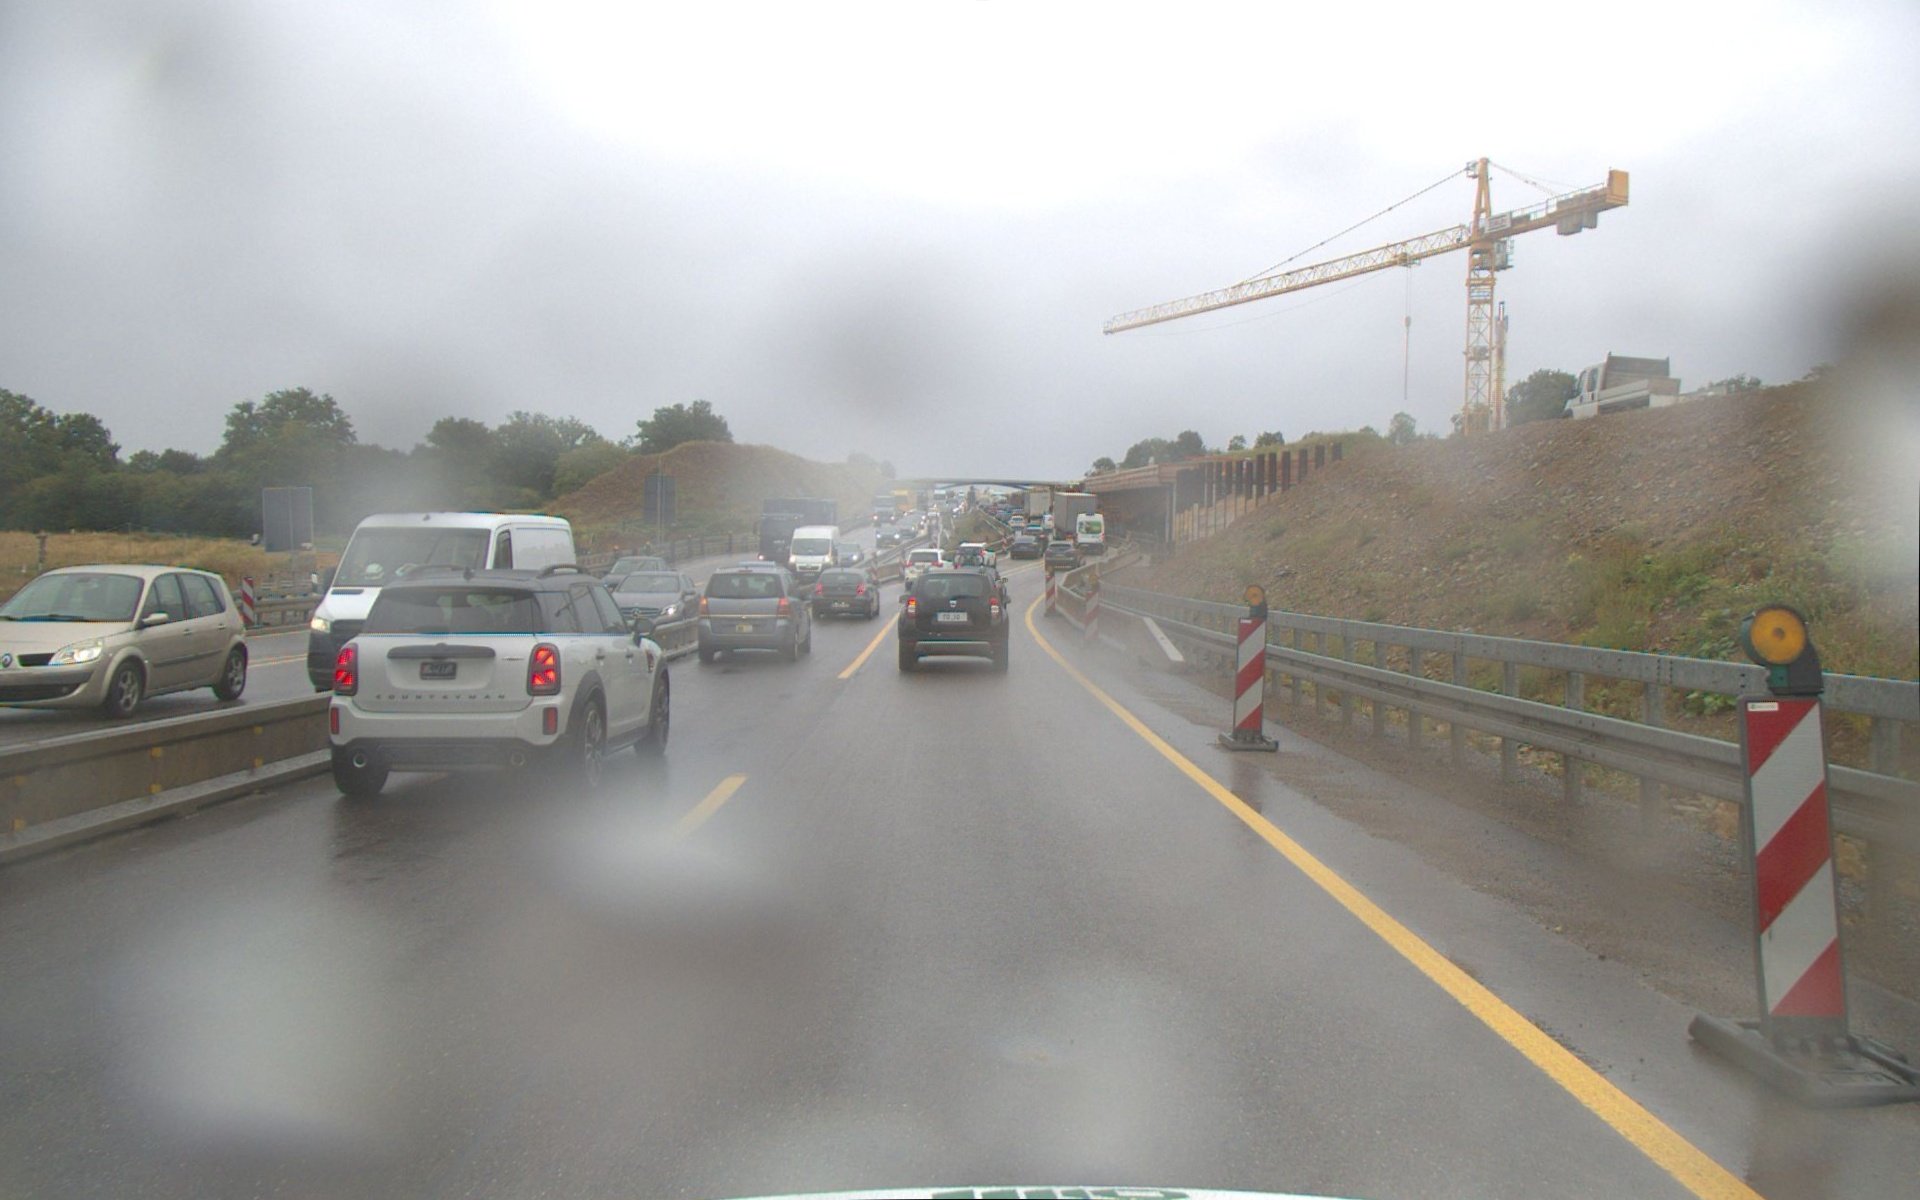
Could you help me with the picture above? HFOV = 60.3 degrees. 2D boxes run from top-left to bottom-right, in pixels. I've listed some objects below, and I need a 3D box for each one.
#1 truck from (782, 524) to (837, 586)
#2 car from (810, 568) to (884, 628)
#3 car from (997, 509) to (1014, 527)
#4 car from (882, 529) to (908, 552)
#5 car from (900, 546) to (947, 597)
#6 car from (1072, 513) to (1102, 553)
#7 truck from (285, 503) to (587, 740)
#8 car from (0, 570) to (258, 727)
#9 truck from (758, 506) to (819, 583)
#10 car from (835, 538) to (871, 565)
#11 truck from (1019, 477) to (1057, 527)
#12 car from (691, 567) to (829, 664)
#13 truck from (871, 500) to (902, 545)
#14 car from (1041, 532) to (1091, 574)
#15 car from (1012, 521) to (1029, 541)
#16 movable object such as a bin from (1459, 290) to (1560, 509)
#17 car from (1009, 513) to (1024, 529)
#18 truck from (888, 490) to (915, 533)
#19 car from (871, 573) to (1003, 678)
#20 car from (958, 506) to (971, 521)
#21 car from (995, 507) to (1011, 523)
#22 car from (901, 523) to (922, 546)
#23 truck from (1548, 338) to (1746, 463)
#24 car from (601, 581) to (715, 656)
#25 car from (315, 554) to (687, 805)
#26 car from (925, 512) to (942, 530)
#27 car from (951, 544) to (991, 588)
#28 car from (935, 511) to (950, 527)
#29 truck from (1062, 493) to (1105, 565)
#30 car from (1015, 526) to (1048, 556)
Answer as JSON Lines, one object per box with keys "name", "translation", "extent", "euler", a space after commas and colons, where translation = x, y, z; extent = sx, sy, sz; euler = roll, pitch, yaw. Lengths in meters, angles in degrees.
{"name": "truck", "translation": [-6.970, -2.082, 77.268], "extent": [2.104, 2.760, 6.016], "euler": [1, 1, -1]}
{"name": "car", "translation": [-3.205, -0.047, 47.550], "extent": [1.953, 1.628, 4.139], "euler": [0, 0, -2]}
{"name": "car", "translation": [5.367, -9.648, 195.314], "extent": [1.953, 2.048, 4.000], "euler": [0, 1, 0]}
{"name": "car", "translation": [-4.963, -4.540, 126.944], "extent": [1.702, 1.713, 5.553], "euler": [1, 2, 0]}
{"name": "car", "translation": [-1.535, -1.188, 70.609], "extent": [1.953, 2.049, 3.892], "euler": [0, 0, -1]}
{"name": "car", "translation": [8.878, -4.632, 115.392], "extent": [1.951, 2.528, 4.985], "euler": [0, 0, 5]}
{"name": "truck", "translation": [-6.490, 0.255, 21.359], "extent": [2.036, 2.621, 5.961], "euler": [0, 0, -1]}
{"name": "car", "translation": [-9.639, 0.467, 18.653], "extent": [1.751, 1.573, 4.000], "euler": [0, 1, -1]}
{"name": "truck", "translation": [-9.394, -3.083, 91.282], "extent": [2.588, 4.039, 9.213], "euler": [0, 2, -1]}
{"name": "car", "translation": [-5.995, -2.737, 93.161], "extent": [1.831, 1.497, 4.670], "euler": [0, 2, -1]}
{"name": "truck", "translation": [9.212, -11.633, 197.389], "extent": [3.726, 5.131, 12.919], "euler": [0, 0, -1]}
{"name": "car", "translation": [-3.543, 0.278, 29.994], "extent": [1.952, 1.628, 4.140], "euler": [0, 0, 0]}
{"name": "truck", "translation": [-8.444, -8.941, 191.516], "extent": [3.019, 5.005, 8.566], "euler": [1, 1, 1]}
{"name": "car", "translation": [5.950, -2.600, 92.738], "extent": [1.951, 2.201, 4.143], "euler": [0, -1, 16]}
{"name": "car", "translation": [6.516, -7.453, 178.405], "extent": [1.811, 1.927, 4.021], "euler": [0, 0, 1]}
{"name": "movable object such as a bin", "translation": [30.990, -11.006, 93.794], "extent": [4.618, 11.032, 10.311], "euler": [0, -1, 14]}
{"name": "car", "translation": [7.959, -11.226, 234.560], "extent": [1.953, 2.049, 3.999], "euler": [0, 0, -1]}
{"name": "truck", "translation": [-7.882, -11.969, 223.900], "extent": [3.077, 5.512, 8.525], "euler": [1, 1, 1]}
{"name": "car", "translation": [-0.337, 0.411, 27.769], "extent": [2.038, 1.628, 4.140], "euler": [0, 0, 0]}
{"name": "car", "translation": [0.662, -13.660, 261.183], "extent": [1.953, 2.049, 3.999], "euler": [0, 0, -1]}
{"name": "car", "translation": [5.639, -11.235, 219.089], "extent": [1.953, 2.048, 4.000], "euler": [0, 1, 0]}
{"name": "car", "translation": [-4.324, -5.792, 147.050], "extent": [1.749, 1.841, 4.499], "euler": [0, 0, 0]}
{"name": "truck", "translation": [19.069, -5.459, 46.407], "extent": [2.591, 2.599, 6.983], "euler": [0, 0, -1]}
{"name": "car", "translation": [-6.643, 0.369, 36.780], "extent": [1.750, 1.565, 4.311], "euler": [0, 0, 0]}
{"name": "car", "translation": [-3.359, 0.515, 12.980], "extent": [1.779, 1.628, 4.307], "euler": [0, 0, -1]}
{"name": "car", "translation": [-3.794, -11.359, 237.892], "extent": [2.192, 2.399, 4.878], "euler": [1, 1, 1]}
{"name": "car", "translation": [0.592, -1.793, 87.628], "extent": [1.952, 2.201, 4.142], "euler": [0, 0, 3]}
{"name": "car", "translation": [-2.683, -12.340, 251.976], "extent": [2.171, 2.411, 4.665], "euler": [1, 1, 1]}
{"name": "truck", "translation": [10.275, -5.776, 136.914], "extent": [3.035, 5.521, 9.450], "euler": [0, 0, 7]}
{"name": "car", "translation": [4.628, -3.802, 107.607], "extent": [1.952, 1.792, 3.814], "euler": [0, 0, 0]}
